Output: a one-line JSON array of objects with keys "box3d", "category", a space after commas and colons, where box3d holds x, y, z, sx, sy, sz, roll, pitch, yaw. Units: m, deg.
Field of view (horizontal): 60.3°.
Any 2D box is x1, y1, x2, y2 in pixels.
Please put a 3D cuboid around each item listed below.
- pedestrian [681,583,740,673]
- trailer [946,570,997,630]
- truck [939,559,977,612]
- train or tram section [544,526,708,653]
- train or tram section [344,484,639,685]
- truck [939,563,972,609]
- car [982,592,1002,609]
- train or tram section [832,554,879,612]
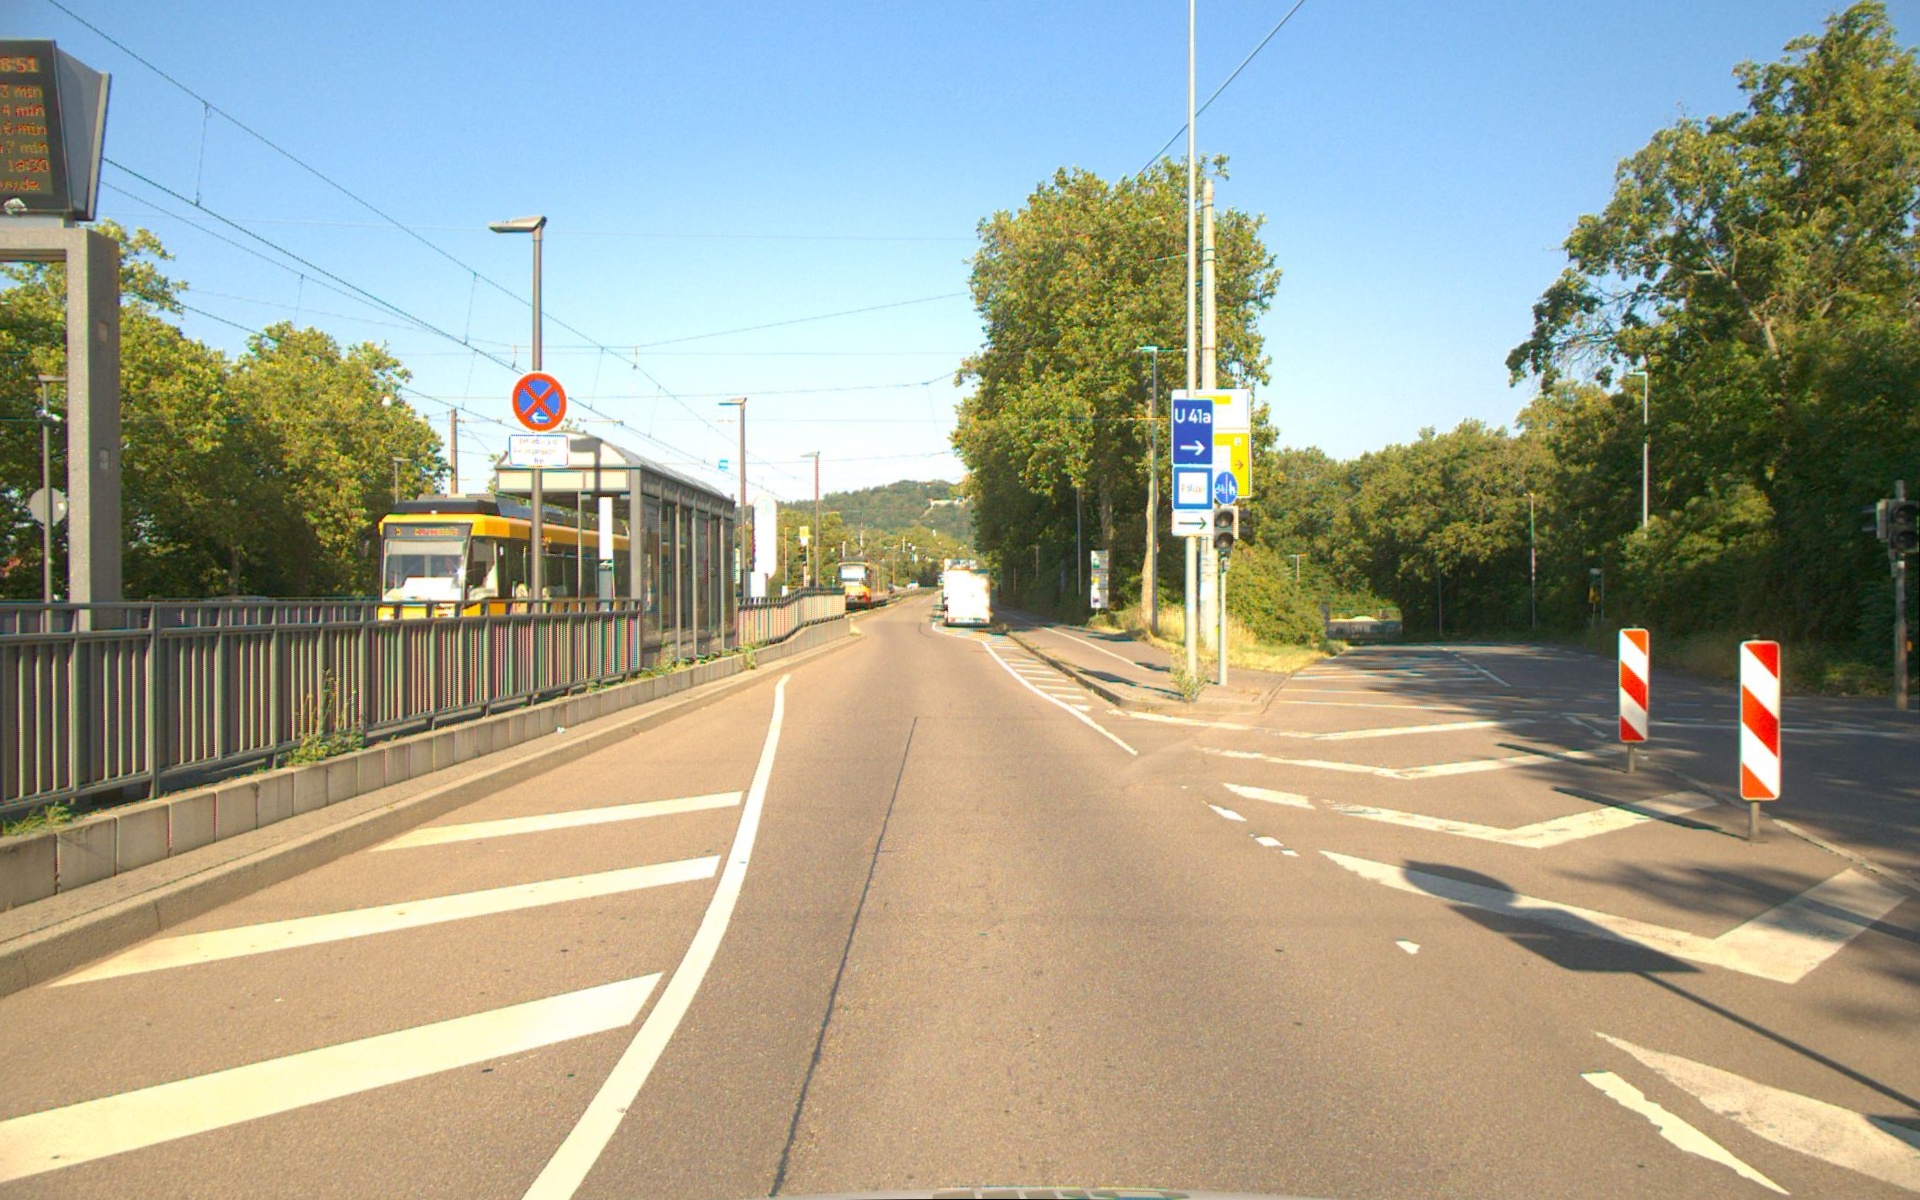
[{"box3d": [-4.333, 0.477, 28.716, 0.746, 1.519, 0.693, 0, 0, 33], "category": "pedestrian"}, {"box3d": [0.584, -0.007, 78.815, 2.204, 2.742, 5.949, 0, 0, 2], "category": "trailer"}, {"box3d": [-0.191, -1.112, 126.557, 2.686, 3.849, 10.087, 1, 0, -1], "category": "truck"}, {"box3d": [-11.022, -0.316, 56.189, 2.769, 3.751, 12.969, 1, 0, 0], "category": "train or tram section"}, {"box3d": [-11.127, -0.315, 41.822, 2.769, 4.076, 15.875, 1, 0, 0], "category": "train or tram section"}, {"box3d": [-0.434, -1.186, 145.477, 2.662, 3.849, 9.759, 1, 0, -1], "category": "truck"}, {"box3d": [2.693, 0.046, 138.973, 1.619, 1.462, 3.777, 0, 0, 1], "category": "car"}, {"box3d": [-7.969, -1.282, 127.710, 2.666, 4.162, 13.614, -1, 0, 0], "category": "train or tram section"}]
